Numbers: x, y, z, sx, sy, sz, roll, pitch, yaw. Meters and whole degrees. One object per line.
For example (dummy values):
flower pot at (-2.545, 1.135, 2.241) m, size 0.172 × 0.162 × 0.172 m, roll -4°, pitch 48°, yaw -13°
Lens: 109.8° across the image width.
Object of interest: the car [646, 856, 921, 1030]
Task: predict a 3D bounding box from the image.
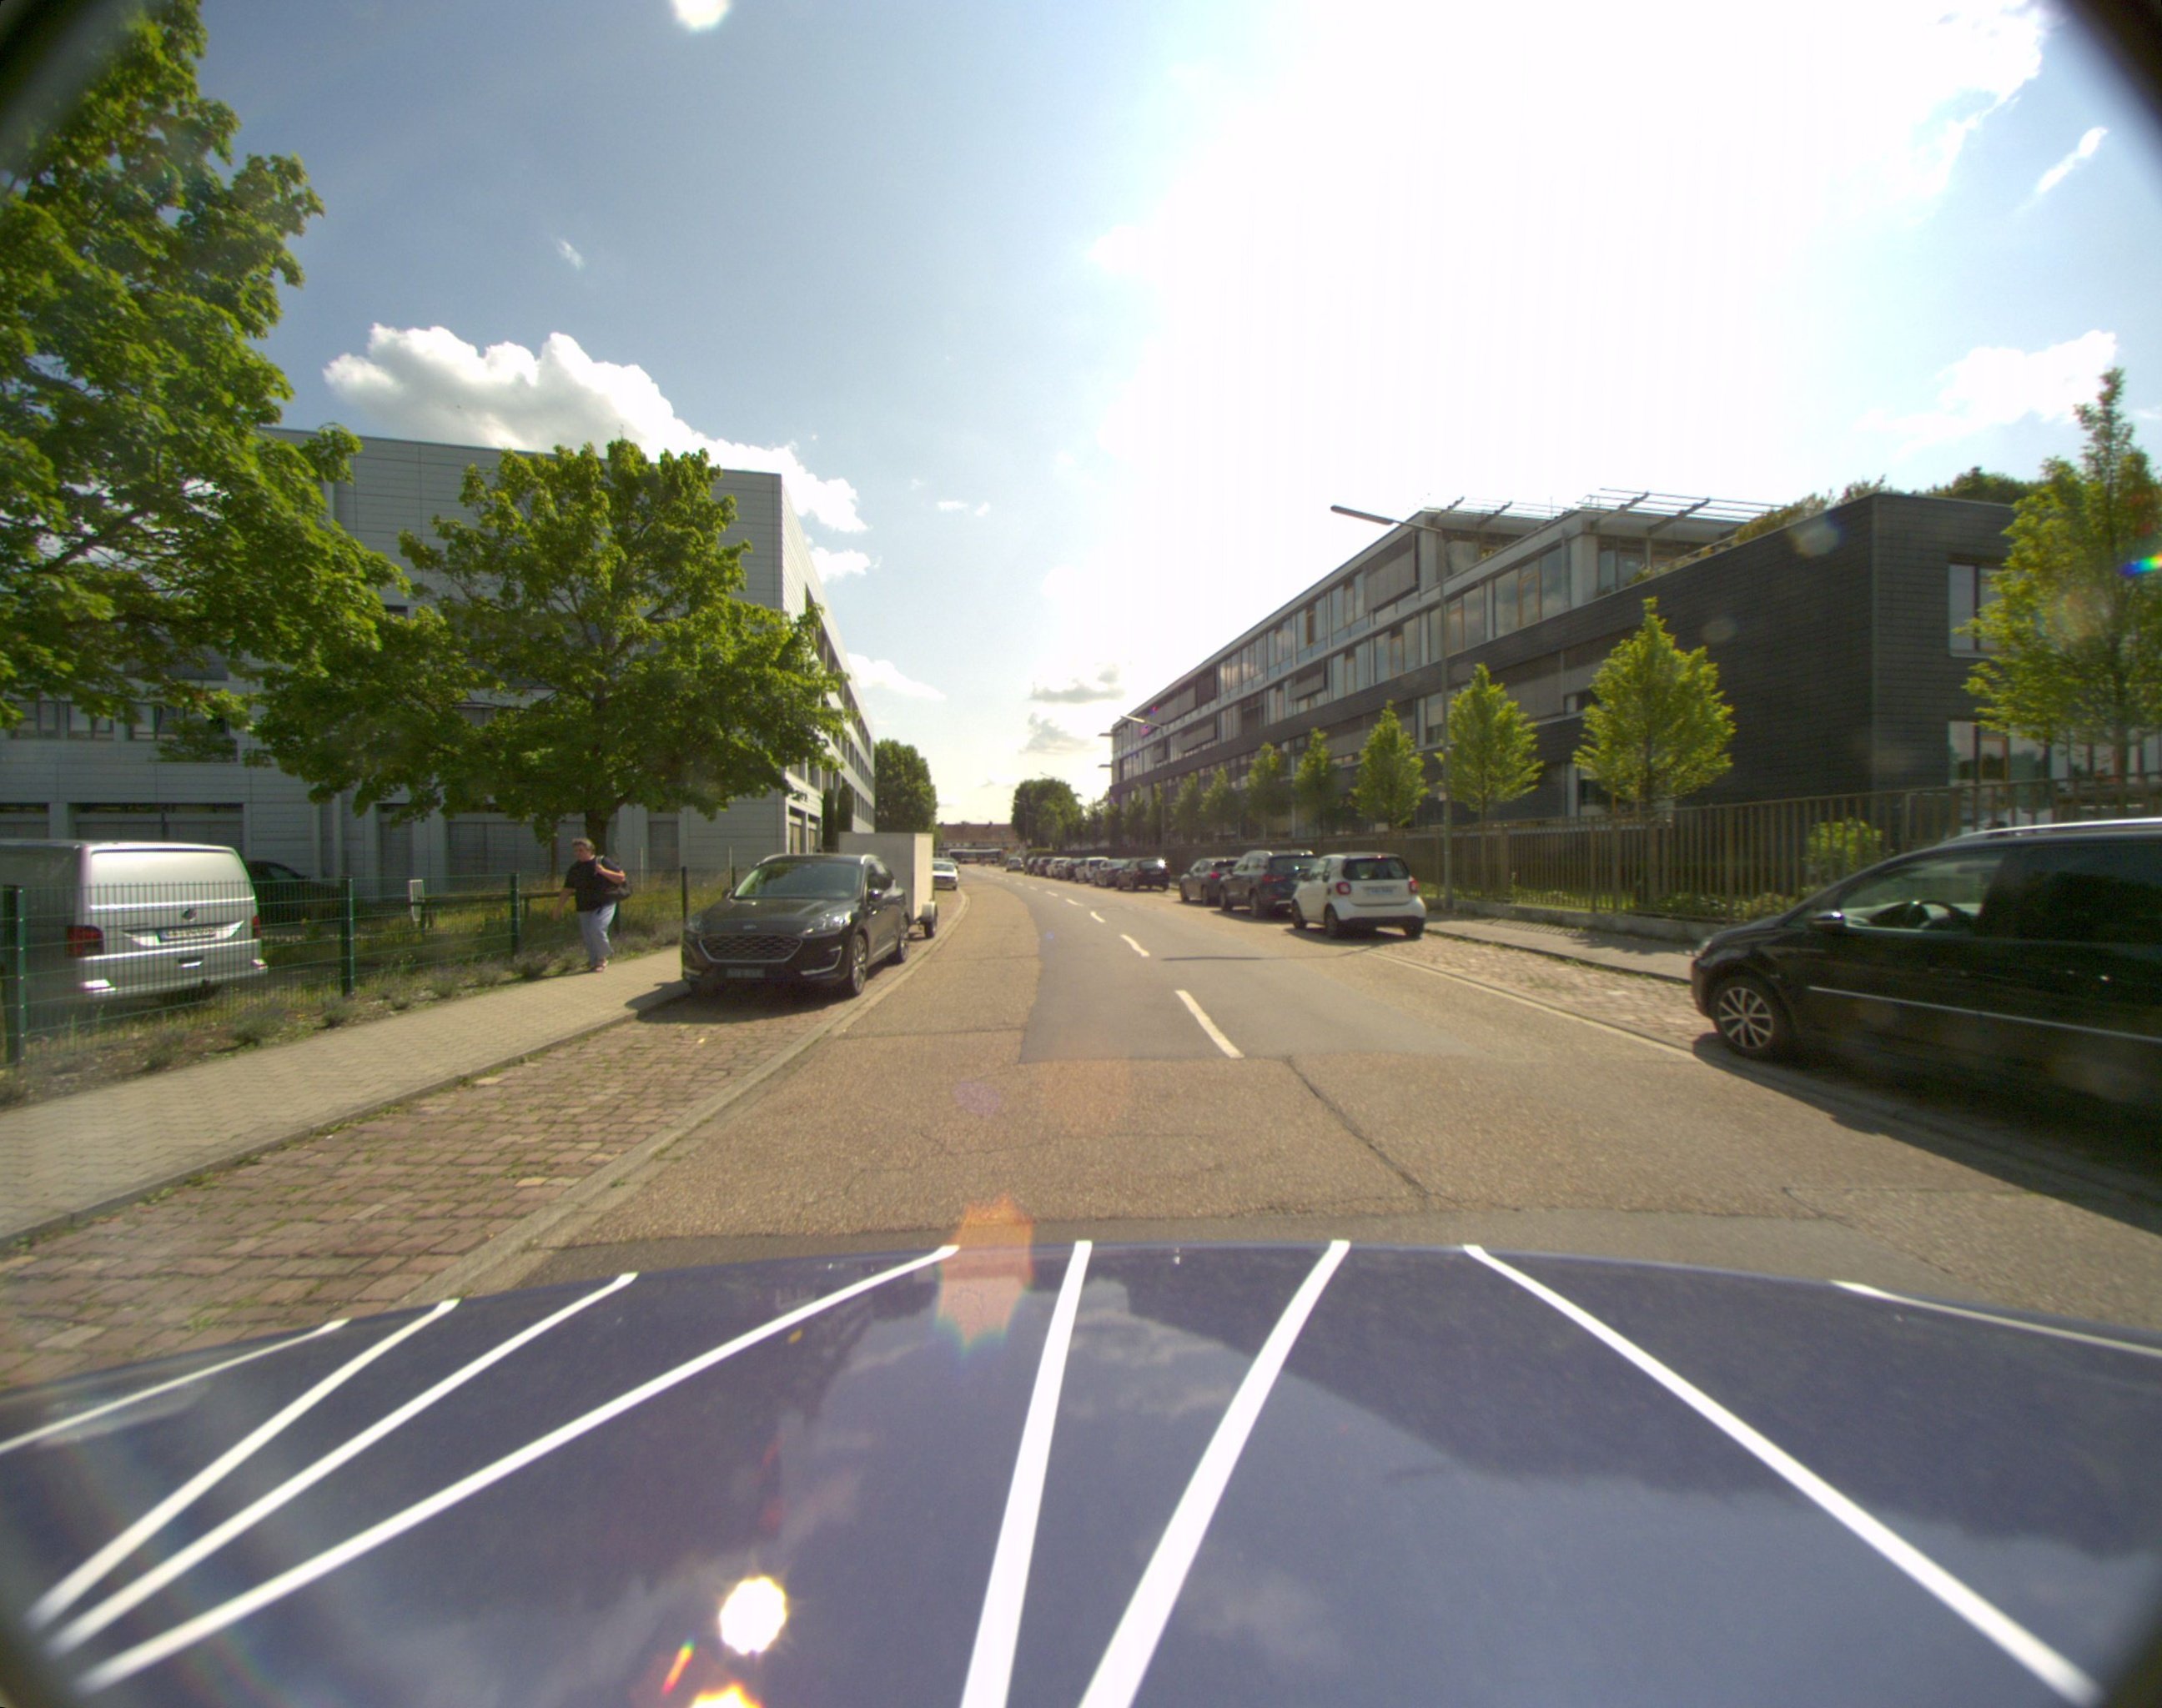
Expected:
car at (-3.461, 0.902, 9.938) m, size 1.866 × 1.673 × 4.709 m, roll 1°, pitch 0°, yaw -2°

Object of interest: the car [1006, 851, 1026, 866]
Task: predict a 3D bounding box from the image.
car at (-7.028, 0.540, 82.228) m, size 1.679 × 1.506 × 3.740 m, roll 0°, pitch -1°, yaw -12°

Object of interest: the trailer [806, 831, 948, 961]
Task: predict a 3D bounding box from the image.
trailer at (-3.640, 0.684, 14.259) m, size 1.750 × 2.055 × 3.946 m, roll 2°, pitch 0°, yaw -4°

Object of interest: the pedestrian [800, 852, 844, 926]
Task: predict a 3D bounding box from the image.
pedestrian at (-5.972, 0.796, 17.547) m, size 0.729 × 1.637 × 0.580 m, roll 4°, pitch -1°, yaw -5°

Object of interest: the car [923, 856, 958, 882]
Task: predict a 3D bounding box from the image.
car at (-9.051, 0.922, 48.707) m, size 1.816 × 1.495 × 3.995 m, roll 3°, pitch -1°, yaw -15°

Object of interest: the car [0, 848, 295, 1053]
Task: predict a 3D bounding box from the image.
car at (-11.825, 0.943, 8.202) m, size 4.480 × 1.954 × 2.000 m, roll 0°, pitch -1°, yaw -3°

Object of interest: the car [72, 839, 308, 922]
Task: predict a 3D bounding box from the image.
car at (-20.325, 0.553, 17.573) m, size 1.828 × 1.638 × 3.332 m, roll -3°, pitch 0°, yaw -13°

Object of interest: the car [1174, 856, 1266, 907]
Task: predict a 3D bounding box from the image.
car at (4.360, 0.811, 24.440) m, size 1.739 × 1.437 × 3.927 m, roll -3°, pitch 0°, yaw -8°

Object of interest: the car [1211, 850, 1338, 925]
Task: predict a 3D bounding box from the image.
car at (4.738, 0.746, 19.282) m, size 1.739 × 1.646 × 4.308 m, roll -2°, pitch 0°, yaw -6°

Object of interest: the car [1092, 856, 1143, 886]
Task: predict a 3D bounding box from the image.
car at (1.869, 0.848, 39.851) m, size 1.667 × 1.389 × 4.101 m, roll -3°, pitch 1°, yaw -11°

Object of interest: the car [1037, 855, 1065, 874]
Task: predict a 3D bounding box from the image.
car at (-2.435, 0.810, 60.683) m, size 1.569 × 1.506 × 3.739 m, roll 0°, pitch 0°, yaw -12°

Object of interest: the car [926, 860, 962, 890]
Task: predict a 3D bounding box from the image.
car at (-7.020, 1.042, 38.875) m, size 1.678 × 1.360 × 4.155 m, roll 3°, pitch 0°, yaw -10°

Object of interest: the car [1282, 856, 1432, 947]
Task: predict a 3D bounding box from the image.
car at (5.162, 0.817, 14.613) m, size 1.613 × 1.514 × 3.073 m, roll -1°, pitch 0°, yaw -4°

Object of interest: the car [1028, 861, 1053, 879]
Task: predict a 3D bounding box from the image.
car at (-3.571, 1.348, 65.850) m, size 1.569 × 1.506 × 4.031 m, roll 0°, pitch 0°, yaw -12°

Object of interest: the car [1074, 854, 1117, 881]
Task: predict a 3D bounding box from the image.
car at (0.825, 0.795, 45.122) m, size 1.667 × 1.473 × 3.512 m, roll -3°, pitch 0°, yaw -14°

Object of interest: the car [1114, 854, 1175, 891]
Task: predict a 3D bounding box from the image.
car at (2.835, 0.815, 34.614) m, size 1.667 × 1.521 × 3.996 m, roll -3°, pitch 0°, yaw -11°

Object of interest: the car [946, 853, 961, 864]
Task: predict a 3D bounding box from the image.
car at (-15.927, 0.611, 94.678) m, size 1.662 × 1.279 × 3.739 m, roll 2°, pitch -1°, yaw -12°

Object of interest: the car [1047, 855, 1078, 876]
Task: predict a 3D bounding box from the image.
car at (-1.399, 0.813, 55.029) m, size 1.569 × 1.446 × 3.739 m, roll 0°, pitch 0°, yaw -12°

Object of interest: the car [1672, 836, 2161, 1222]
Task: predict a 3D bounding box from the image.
car at (5.670, 0.766, 3.985) m, size 1.780 × 1.672 × 4.230 m, roll -2°, pitch 0°, yaw -1°

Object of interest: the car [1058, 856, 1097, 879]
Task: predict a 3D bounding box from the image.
car at (-0.285, 0.835, 50.166) m, size 1.672 × 1.396 × 3.995 m, roll -2°, pitch 0°, yaw -13°

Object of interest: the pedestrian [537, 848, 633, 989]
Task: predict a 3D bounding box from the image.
pedestrian at (-6.151, 0.778, 9.458) m, size 0.723 × 1.683 × 0.739 m, roll 1°, pitch 1°, yaw -4°
